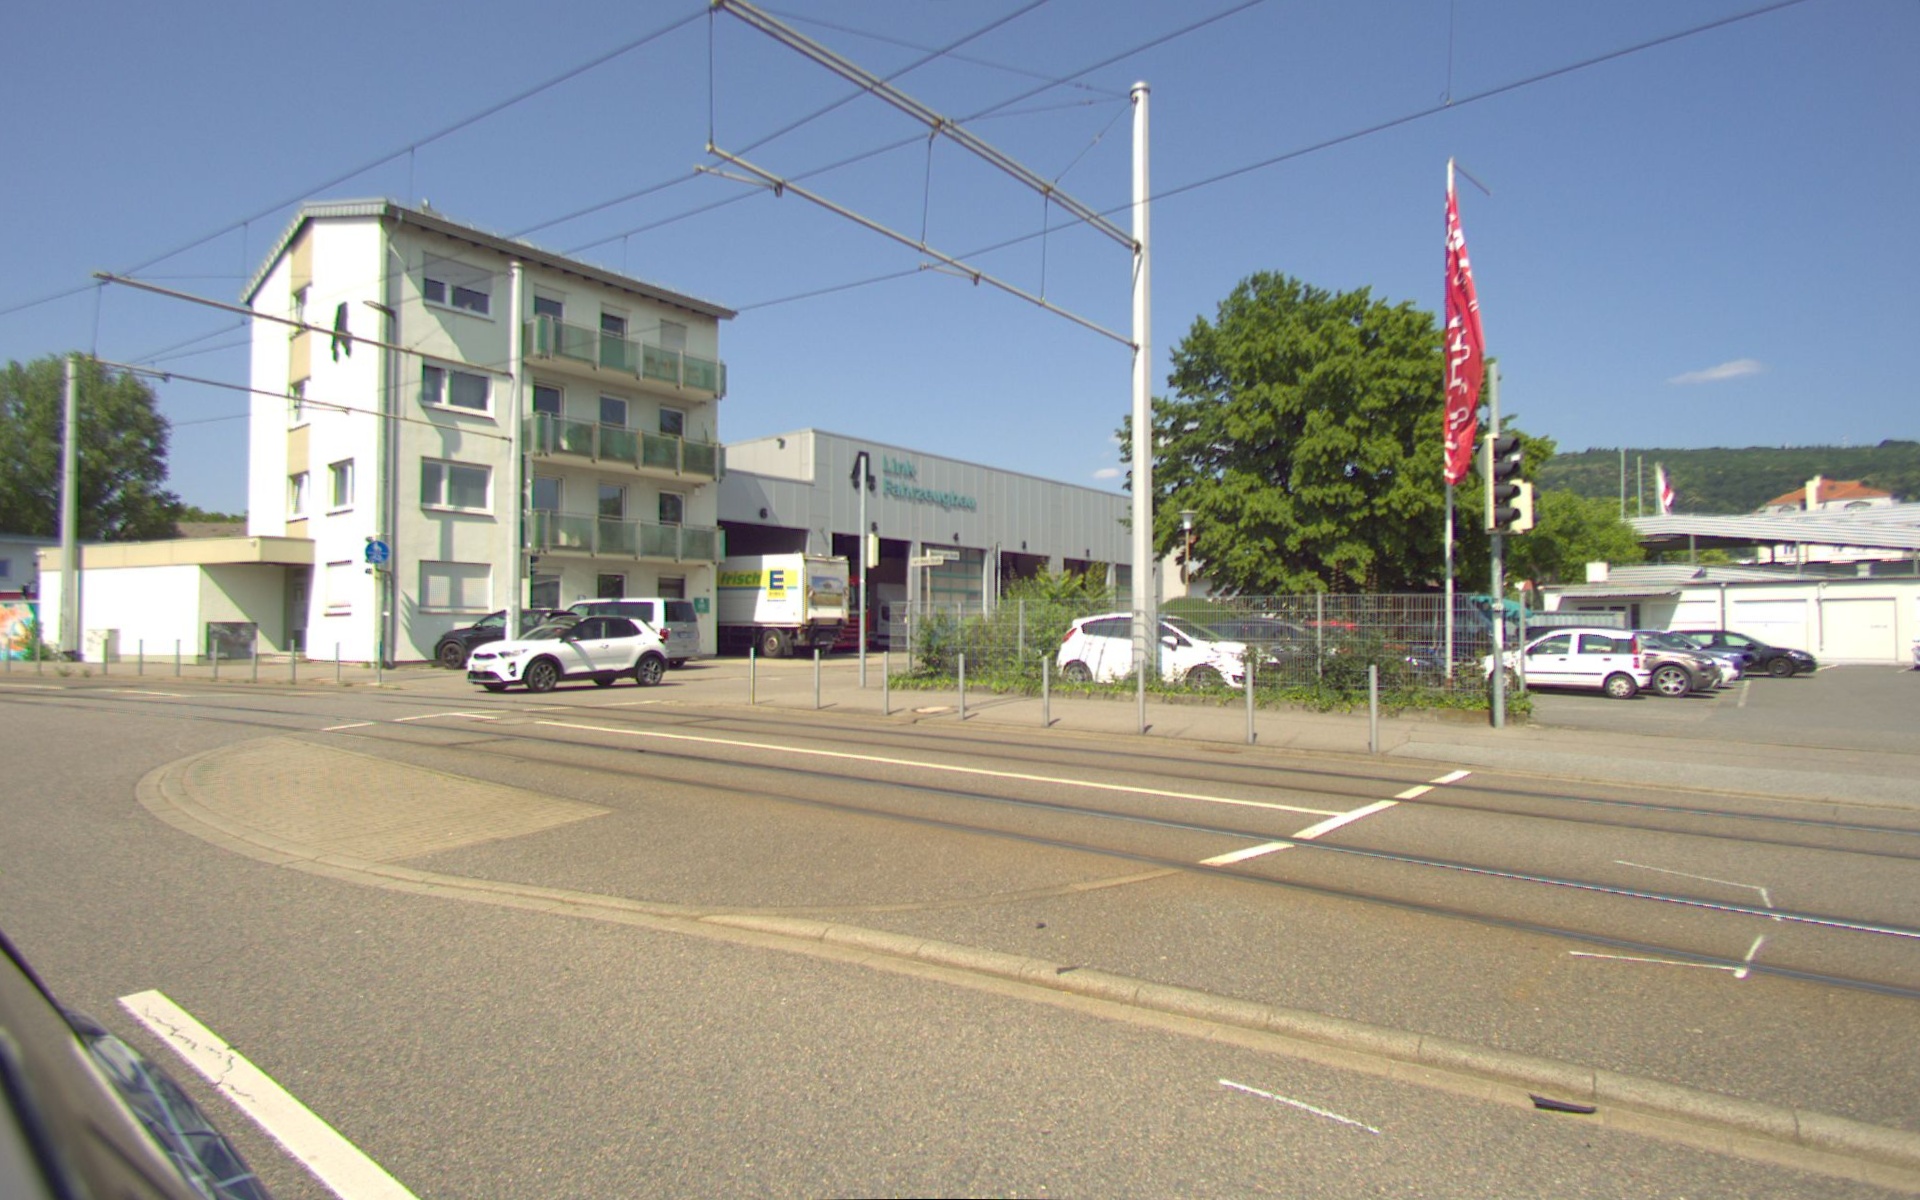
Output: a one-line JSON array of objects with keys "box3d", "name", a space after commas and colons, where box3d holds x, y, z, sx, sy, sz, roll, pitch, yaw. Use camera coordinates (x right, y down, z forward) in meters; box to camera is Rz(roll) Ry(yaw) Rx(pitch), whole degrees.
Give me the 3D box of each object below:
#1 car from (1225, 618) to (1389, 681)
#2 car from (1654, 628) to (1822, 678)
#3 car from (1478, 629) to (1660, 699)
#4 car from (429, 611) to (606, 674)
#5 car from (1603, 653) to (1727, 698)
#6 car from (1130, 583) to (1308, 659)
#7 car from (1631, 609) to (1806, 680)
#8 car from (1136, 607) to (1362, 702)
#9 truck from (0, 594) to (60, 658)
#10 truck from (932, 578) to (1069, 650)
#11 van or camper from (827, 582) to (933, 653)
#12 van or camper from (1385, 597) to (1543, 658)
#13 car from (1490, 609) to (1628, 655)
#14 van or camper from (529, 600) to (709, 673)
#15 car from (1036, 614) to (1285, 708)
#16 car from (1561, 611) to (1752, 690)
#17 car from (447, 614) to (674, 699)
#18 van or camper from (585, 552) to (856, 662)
[{"box3d": [9.402, 1.303, 27.587, 3.833, 1.605, 1.832, -1, -2, 40], "name": "car"}, {"box3d": [25.100, 1.661, 32.731, 1.969, 1.523, 4.005, 2, -2, -41], "name": "car"}, {"box3d": [14.056, 1.416, 23.448, 3.388, 1.496, 1.497, -1, -2, 42], "name": "car"}, {"box3d": [-11.459, 1.088, 26.295, 3.936, 1.532, 1.871, 0, -2, 15], "name": "car"}, {"box3d": [16.569, 1.746, 23.802, 2.315, 0.953, 1.273, -1, -2, 39], "name": "car"}, {"box3d": [6.390, 0.525, 25.116, 3.833, 1.633, 1.832, 0, -6, 40], "name": "car"}, {"box3d": [23.250, 1.335, 31.118, 1.969, 2.029, 4.005, 2, -2, -42], "name": "car"}, {"box3d": [5.418, 0.988, 19.337, 1.742, 1.633, 3.842, 2, -2, -40], "name": "car"}, {"box3d": [-41.003, 1.068, 42.144, 2.178, 2.646, 4.790, -1, -2, 26], "name": "truck"}, {"box3d": [2.201, 0.832, 57.332, 7.856, 3.810, 2.589, -1, -2, 40], "name": "truck"}, {"box3d": [-3.854, 0.862, 48.232, 5.051, 3.230, 1.975, -2, -2, 38], "name": "van or camper"}, {"box3d": [17.857, 0.984, 36.022, 1.969, 2.023, 4.649, 2, -2, -42], "name": "van or camper"}, {"box3d": [21.525, 1.153, 36.425, 3.998, 1.567, 1.973, -1, -2, 41], "name": "car"}, {"box3d": [-9.587, 1.002, 28.500, 4.521, 1.922, 1.987, 0, -2, 20], "name": "van or camper"}, {"box3d": [3.405, 0.967, 17.576, 3.953, 1.444, 1.689, 0, -1, 42], "name": "car"}, {"box3d": [19.167, 1.348, 27.971, 1.969, 2.029, 4.005, 2, -2, -42], "name": "car"}, {"box3d": [-8.031, 1.092, 20.704, 1.733, 1.541, 4.061, -1, -2, 34], "name": "car"}, {"box3d": [-9.396, 0.225, 38.567, 11.603, 3.721, 2.750, 1, -2, 33], "name": "van or camper"}]
